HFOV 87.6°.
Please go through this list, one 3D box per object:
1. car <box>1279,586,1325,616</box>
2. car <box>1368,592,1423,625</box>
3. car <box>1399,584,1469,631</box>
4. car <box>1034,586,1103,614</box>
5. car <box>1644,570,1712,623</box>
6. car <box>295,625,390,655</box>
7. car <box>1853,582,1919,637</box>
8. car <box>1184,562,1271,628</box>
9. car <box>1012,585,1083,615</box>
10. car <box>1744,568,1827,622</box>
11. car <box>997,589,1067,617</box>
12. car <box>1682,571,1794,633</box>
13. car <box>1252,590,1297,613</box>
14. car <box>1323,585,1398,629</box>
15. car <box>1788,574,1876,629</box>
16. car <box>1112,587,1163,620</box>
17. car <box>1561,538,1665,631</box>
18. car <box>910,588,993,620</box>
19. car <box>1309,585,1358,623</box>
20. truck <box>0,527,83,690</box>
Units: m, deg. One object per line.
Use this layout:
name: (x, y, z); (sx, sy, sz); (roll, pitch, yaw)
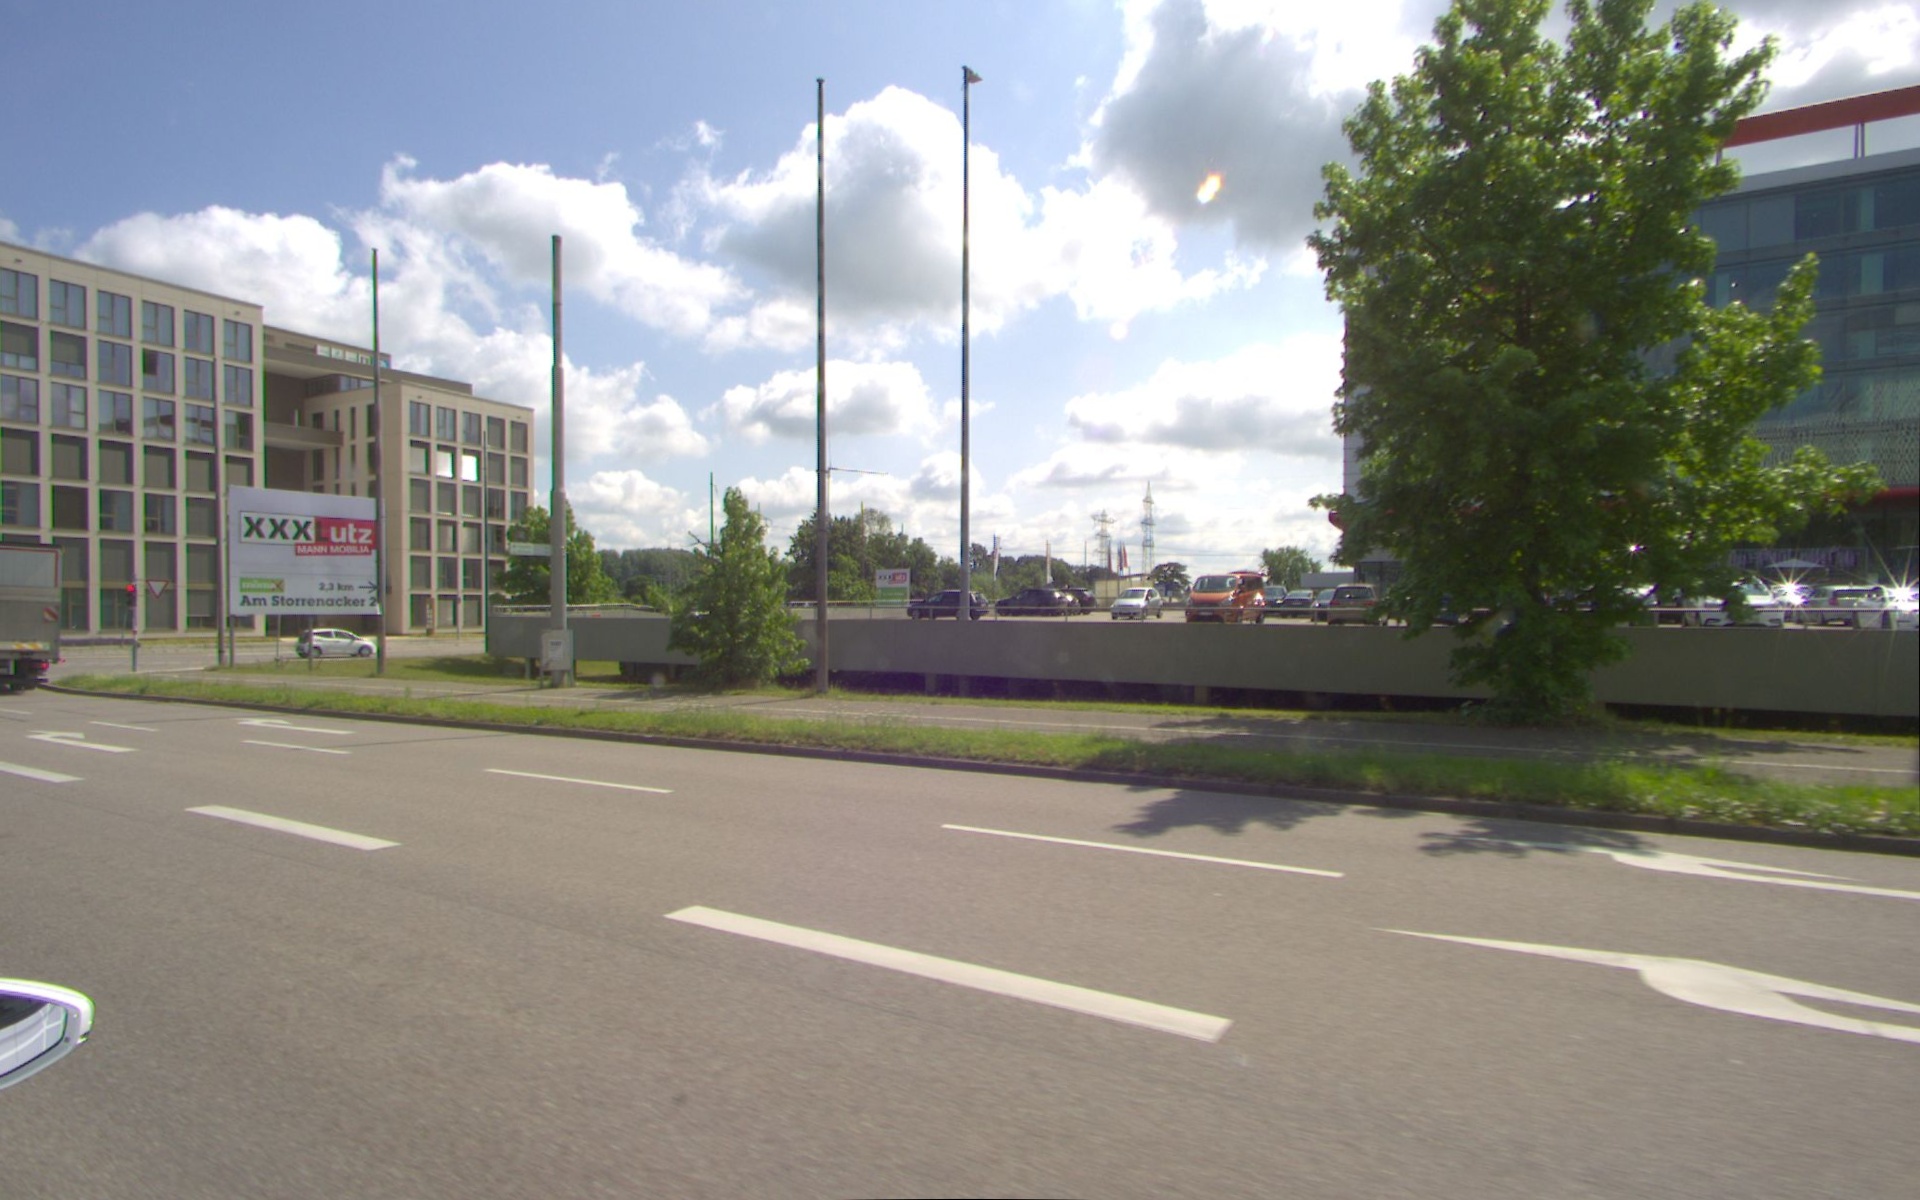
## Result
car: (17.511, 0.070, 51.231); (1.561, 1.428, 3.521); (0, -1, 31)
car: (21.424, 0.440, 49.234); (1.971, 1.563, 3.982); (0, -1, 31)
car: (16.615, 0.319, 34.985); (1.956, 1.503, 4.864); (-1, -2, 28)
car: (6.944, 0.011, 64.070); (3.937, 1.751, 1.993); (0, -1, 28)
car: (27.418, -0.093, 38.326); (1.748, 1.861, 3.880); (0, -1, 30)
car: (-31.971, 2.063, 51.943); (1.671, 1.485, 3.845); (0, -1, 32)
car: (26.622, 0.250, 27.918); (1.700, 1.453, 4.178); (0, 0, 30)
car: (10.278, -0.105, 38.223); (1.957, 2.223, 5.157); (-1, -3, 30)
car: (5.425, 0.015, 61.938); (3.937, 1.751, 1.958); (0, -1, 28)
car: (33.860, -0.167, 41.175); (1.970, 2.039, 3.983); (0, -1, 30)
car: (4.266, 0.198, 59.558); (3.807, 1.621, 1.742); (0, -1, 27)
car: (20.787, 0.116, 26.907); (1.721, 1.534, 3.985); (-1, -2, 28)
car: (17.978, 0.118, 57.173); (1.670, 1.199, 3.893); (0, -1, 30)
car: (14.500, 0.316, 36.097); (1.956, 1.472, 4.864); (-1, -2, 28)
car: (31.501, 0.090, 36.267); (1.749, 1.861, 3.879); (0, -1, 32)
car: (9.121, 0.192, 51.236); (1.608, 1.596, 3.897); (0, -1, 25)
car: (18.713, -0.310, 28.953); (2.030, 2.396, 5.655); (-1, -2, 28)
car: (-0.437, 0.222, 50.961); (3.807, 1.540, 1.869); (-1, -2, 27)
car: (16.840, 0.192, 45.066); (1.609, 1.596, 3.895); (0, -1, 28)
truck: (-26.709, 0.286, 27.564); (8.765, 3.991, 3.112); (-1, -2, 44)
